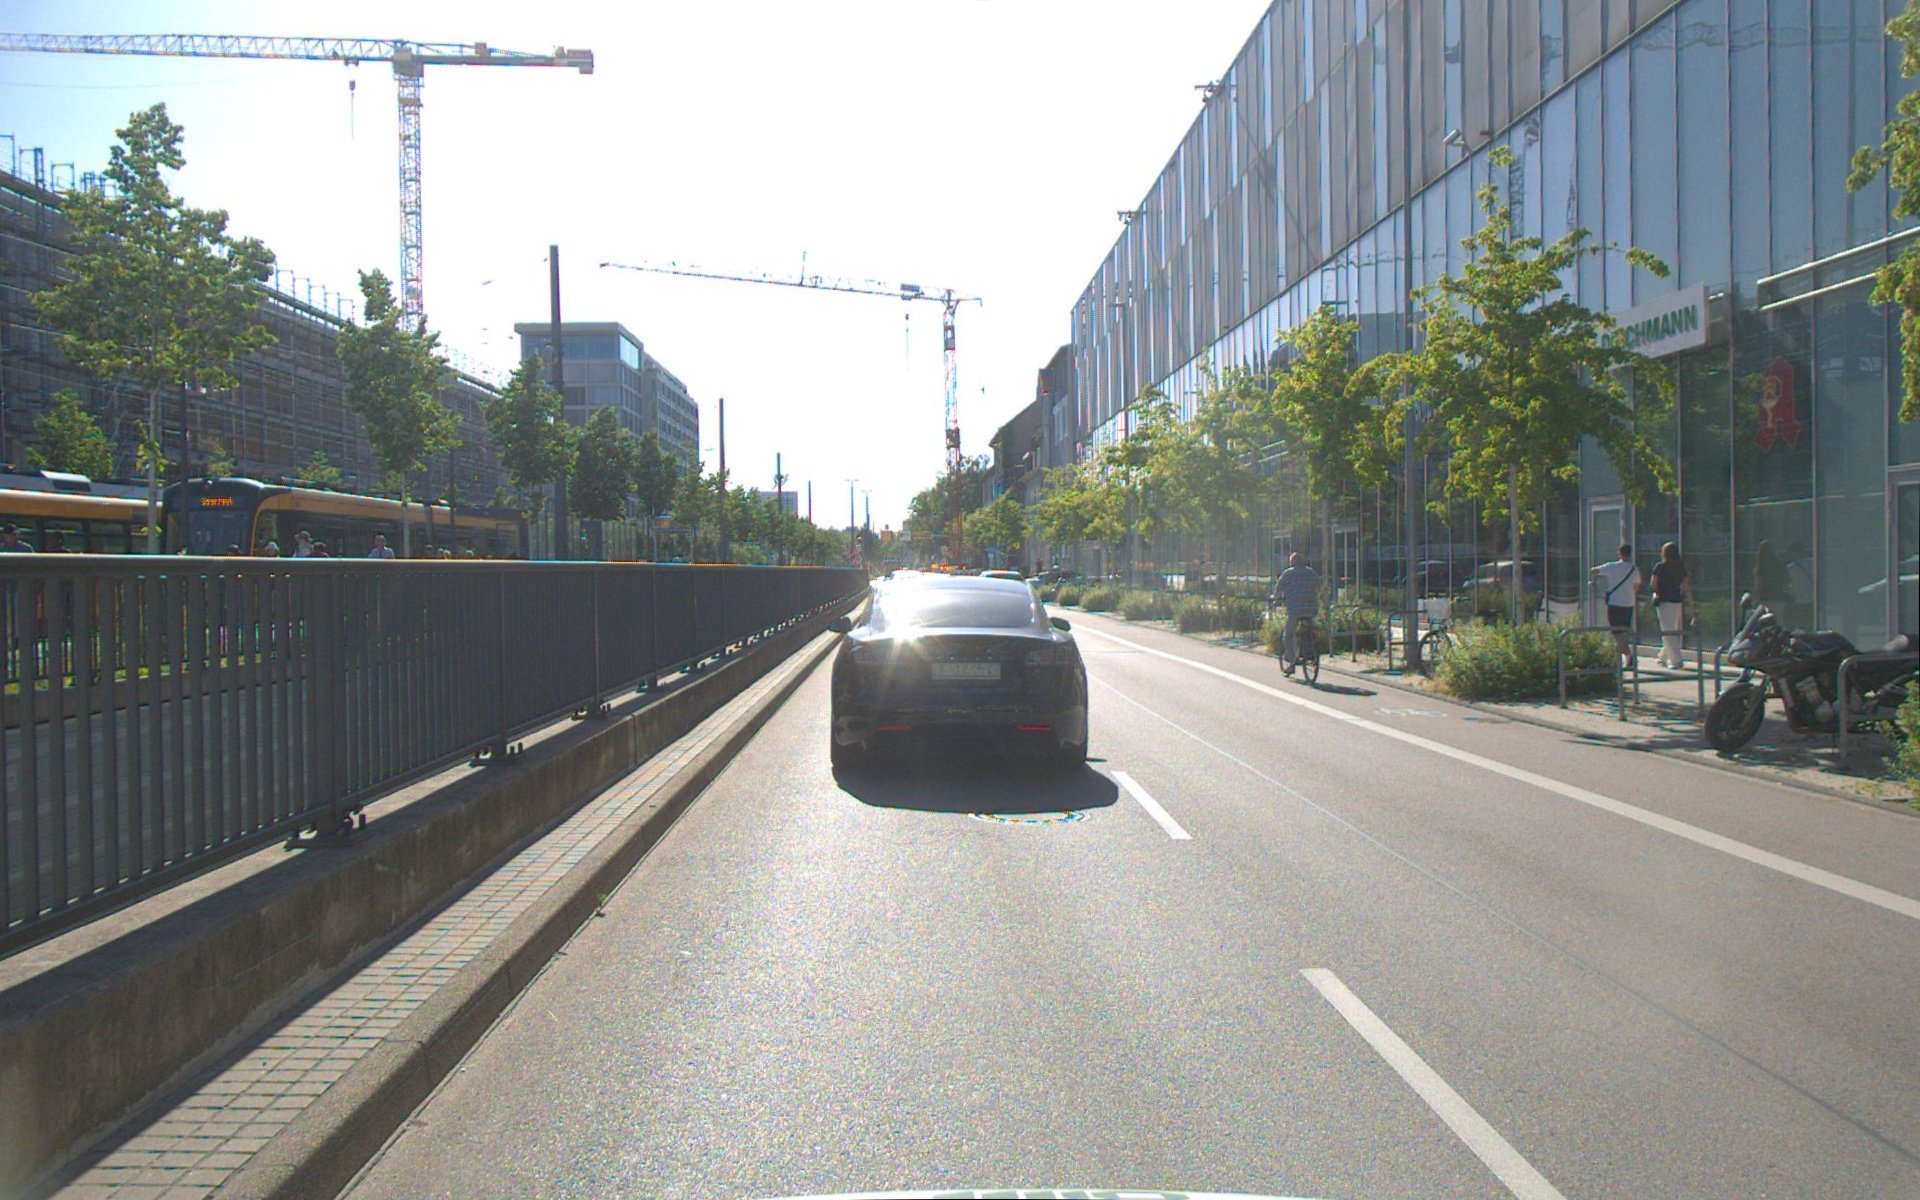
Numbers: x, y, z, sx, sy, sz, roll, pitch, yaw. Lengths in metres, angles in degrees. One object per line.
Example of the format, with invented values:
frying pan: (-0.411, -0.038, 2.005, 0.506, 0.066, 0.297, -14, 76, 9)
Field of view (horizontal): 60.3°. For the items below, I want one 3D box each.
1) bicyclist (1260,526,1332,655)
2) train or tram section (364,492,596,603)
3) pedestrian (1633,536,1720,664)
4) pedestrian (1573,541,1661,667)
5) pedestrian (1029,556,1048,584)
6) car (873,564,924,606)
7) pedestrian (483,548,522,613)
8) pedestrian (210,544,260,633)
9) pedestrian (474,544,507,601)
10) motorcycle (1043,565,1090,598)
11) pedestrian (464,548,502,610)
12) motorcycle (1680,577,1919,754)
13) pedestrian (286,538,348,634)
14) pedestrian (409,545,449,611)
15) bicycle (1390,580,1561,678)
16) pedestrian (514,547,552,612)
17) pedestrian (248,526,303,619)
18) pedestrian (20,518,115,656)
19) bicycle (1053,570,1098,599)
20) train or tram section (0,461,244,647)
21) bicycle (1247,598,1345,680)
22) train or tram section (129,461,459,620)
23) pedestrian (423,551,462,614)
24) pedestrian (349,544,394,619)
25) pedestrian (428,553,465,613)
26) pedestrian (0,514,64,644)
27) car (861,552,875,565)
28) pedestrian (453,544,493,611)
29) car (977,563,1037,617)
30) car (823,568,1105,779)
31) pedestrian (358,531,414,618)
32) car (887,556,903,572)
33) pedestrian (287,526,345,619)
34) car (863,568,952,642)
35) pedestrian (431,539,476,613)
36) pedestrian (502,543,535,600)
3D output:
bicyclist: (4.731, -0.138, 23.346, 0.711, 1.767, 0.997, -1, 1, -5)
train or tram section: (-17.030, -1.850, 61.387, 2.812, 3.336, 22.138, 1, 1, -2)
pedestrian: (9.827, -0.005, 22.708, 0.693, 1.687, 0.899, -3, 1, -6)
pedestrian: (9.011, 0.045, 22.716, 0.805, 1.687, 0.899, -1, 1, -6)
pedestrian: (5.367, -2.052, 113.132, 1.073, 1.895, 1.522, -1, 1, -3)
car: (-2.516, -0.651, 68.157, 1.849, 1.623, 4.001, -1, 2, 1)
pedestrian: (-11.726, -0.503, 42.410, 0.726, 1.656, 0.861, -1, 1, -1)
pedestrian: (-12.701, -0.216, 28.992, 0.634, 1.539, 0.588, 0, 2, -5)
pedestrian: (-13.879, -0.809, 48.914, 0.726, 1.656, 0.861, -1, 1, -1)
motorcycle: (5.009, -0.864, 77.490, 2.030, 1.377, 0.653, -3, 0, 21)
pedestrian: (-13.039, -0.578, 45.215, 0.726, 1.656, 0.947, -1, 1, -1)
motorcycle: (7.285, 0.520, 13.780, 2.143, 1.347, 0.903, -2, 1, 2)
pedestrian: (-11.285, -0.250, 29.058, 0.726, 1.656, 0.861, -1, 1, -1)
pedestrian: (-13.562, -0.556, 42.237, 0.726, 1.656, 0.861, -1, 1, -1)
bicycle: (7.029, 0.382, 22.637, 2.041, 1.226, 0.951, -2, 1, 5)
pedestrian: (-10.962, -0.526, 42.461, 0.726, 1.656, 0.861, -1, 1, -1)
pedestrian: (-13.865, -0.564, 33.516, 0.658, 1.842, 1.074, -1, 1, -3)
pedestrian: (-11.949, -0.188, 22.166, 0.775, 1.806, 0.978, 0, 2, -5)
bicycle: (5.078, -0.695, 72.853, 1.848, 1.171, 0.669, -3, 1, -12)
train or tram section: (-18.999, -0.942, 33.139, 2.790, 3.379, 15.962, 1, 1, -2)
bicycle: (4.737, 0.525, 23.491, 0.714, 1.000, 2.331, -2, 2, -5)
train or tram section: (-16.420, -1.431, 42.668, 2.812, 3.336, 15.181, 1, 1, -2)
pedestrian: (-13.809, -0.483, 44.148, 0.726, 1.656, 0.861, -1, 1, -1)
pedestrian: (-13.827, -0.436, 38.877, 0.726, 1.724, 0.861, -1, 1, -1)
pedestrian: (-14.274, -0.478, 46.015, 0.726, 1.656, 0.861, -1, 1, -1)
pedestrian: (-13.238, -0.309, 23.341, 0.746, 1.806, 0.826, 1, 2, -4)
car: (-13.207, -5.917, 237.112, 1.954, 1.713, 3.998, 1, 1, -3)
pedestrian: (-12.175, -0.561, 41.340, 0.726, 1.656, 0.861, -1, 1, -1)
car: (1.449, -0.348, 52.226, 1.748, 1.573, 4.039, -1, 2, -1)
car: (0.057, 0.470, 13.710, 1.958, 1.459, 4.413, 0, 1, 1)
pedestrian: (-12.693, -0.572, 36.589, 0.869, 1.883, 1.007, -1, 1, -2)
car: (-7.787, -4.283, 197.716, 1.777, 1.841, 4.039, -1, 2, -1)
pedestrian: (-13.092, -0.564, 33.627, 0.754, 1.842, 1.030, -1, 1, -3)
car: (-1.038, 0.056, 33.584, 1.681, 1.342, 4.000, -1, 2, -1)
pedestrian: (-11.449, -0.545, 37.428, 0.726, 1.656, 0.861, -1, 1, -1)
pedestrian: (-13.034, -0.832, 48.887, 0.726, 1.656, 0.861, -1, 1, -1)
